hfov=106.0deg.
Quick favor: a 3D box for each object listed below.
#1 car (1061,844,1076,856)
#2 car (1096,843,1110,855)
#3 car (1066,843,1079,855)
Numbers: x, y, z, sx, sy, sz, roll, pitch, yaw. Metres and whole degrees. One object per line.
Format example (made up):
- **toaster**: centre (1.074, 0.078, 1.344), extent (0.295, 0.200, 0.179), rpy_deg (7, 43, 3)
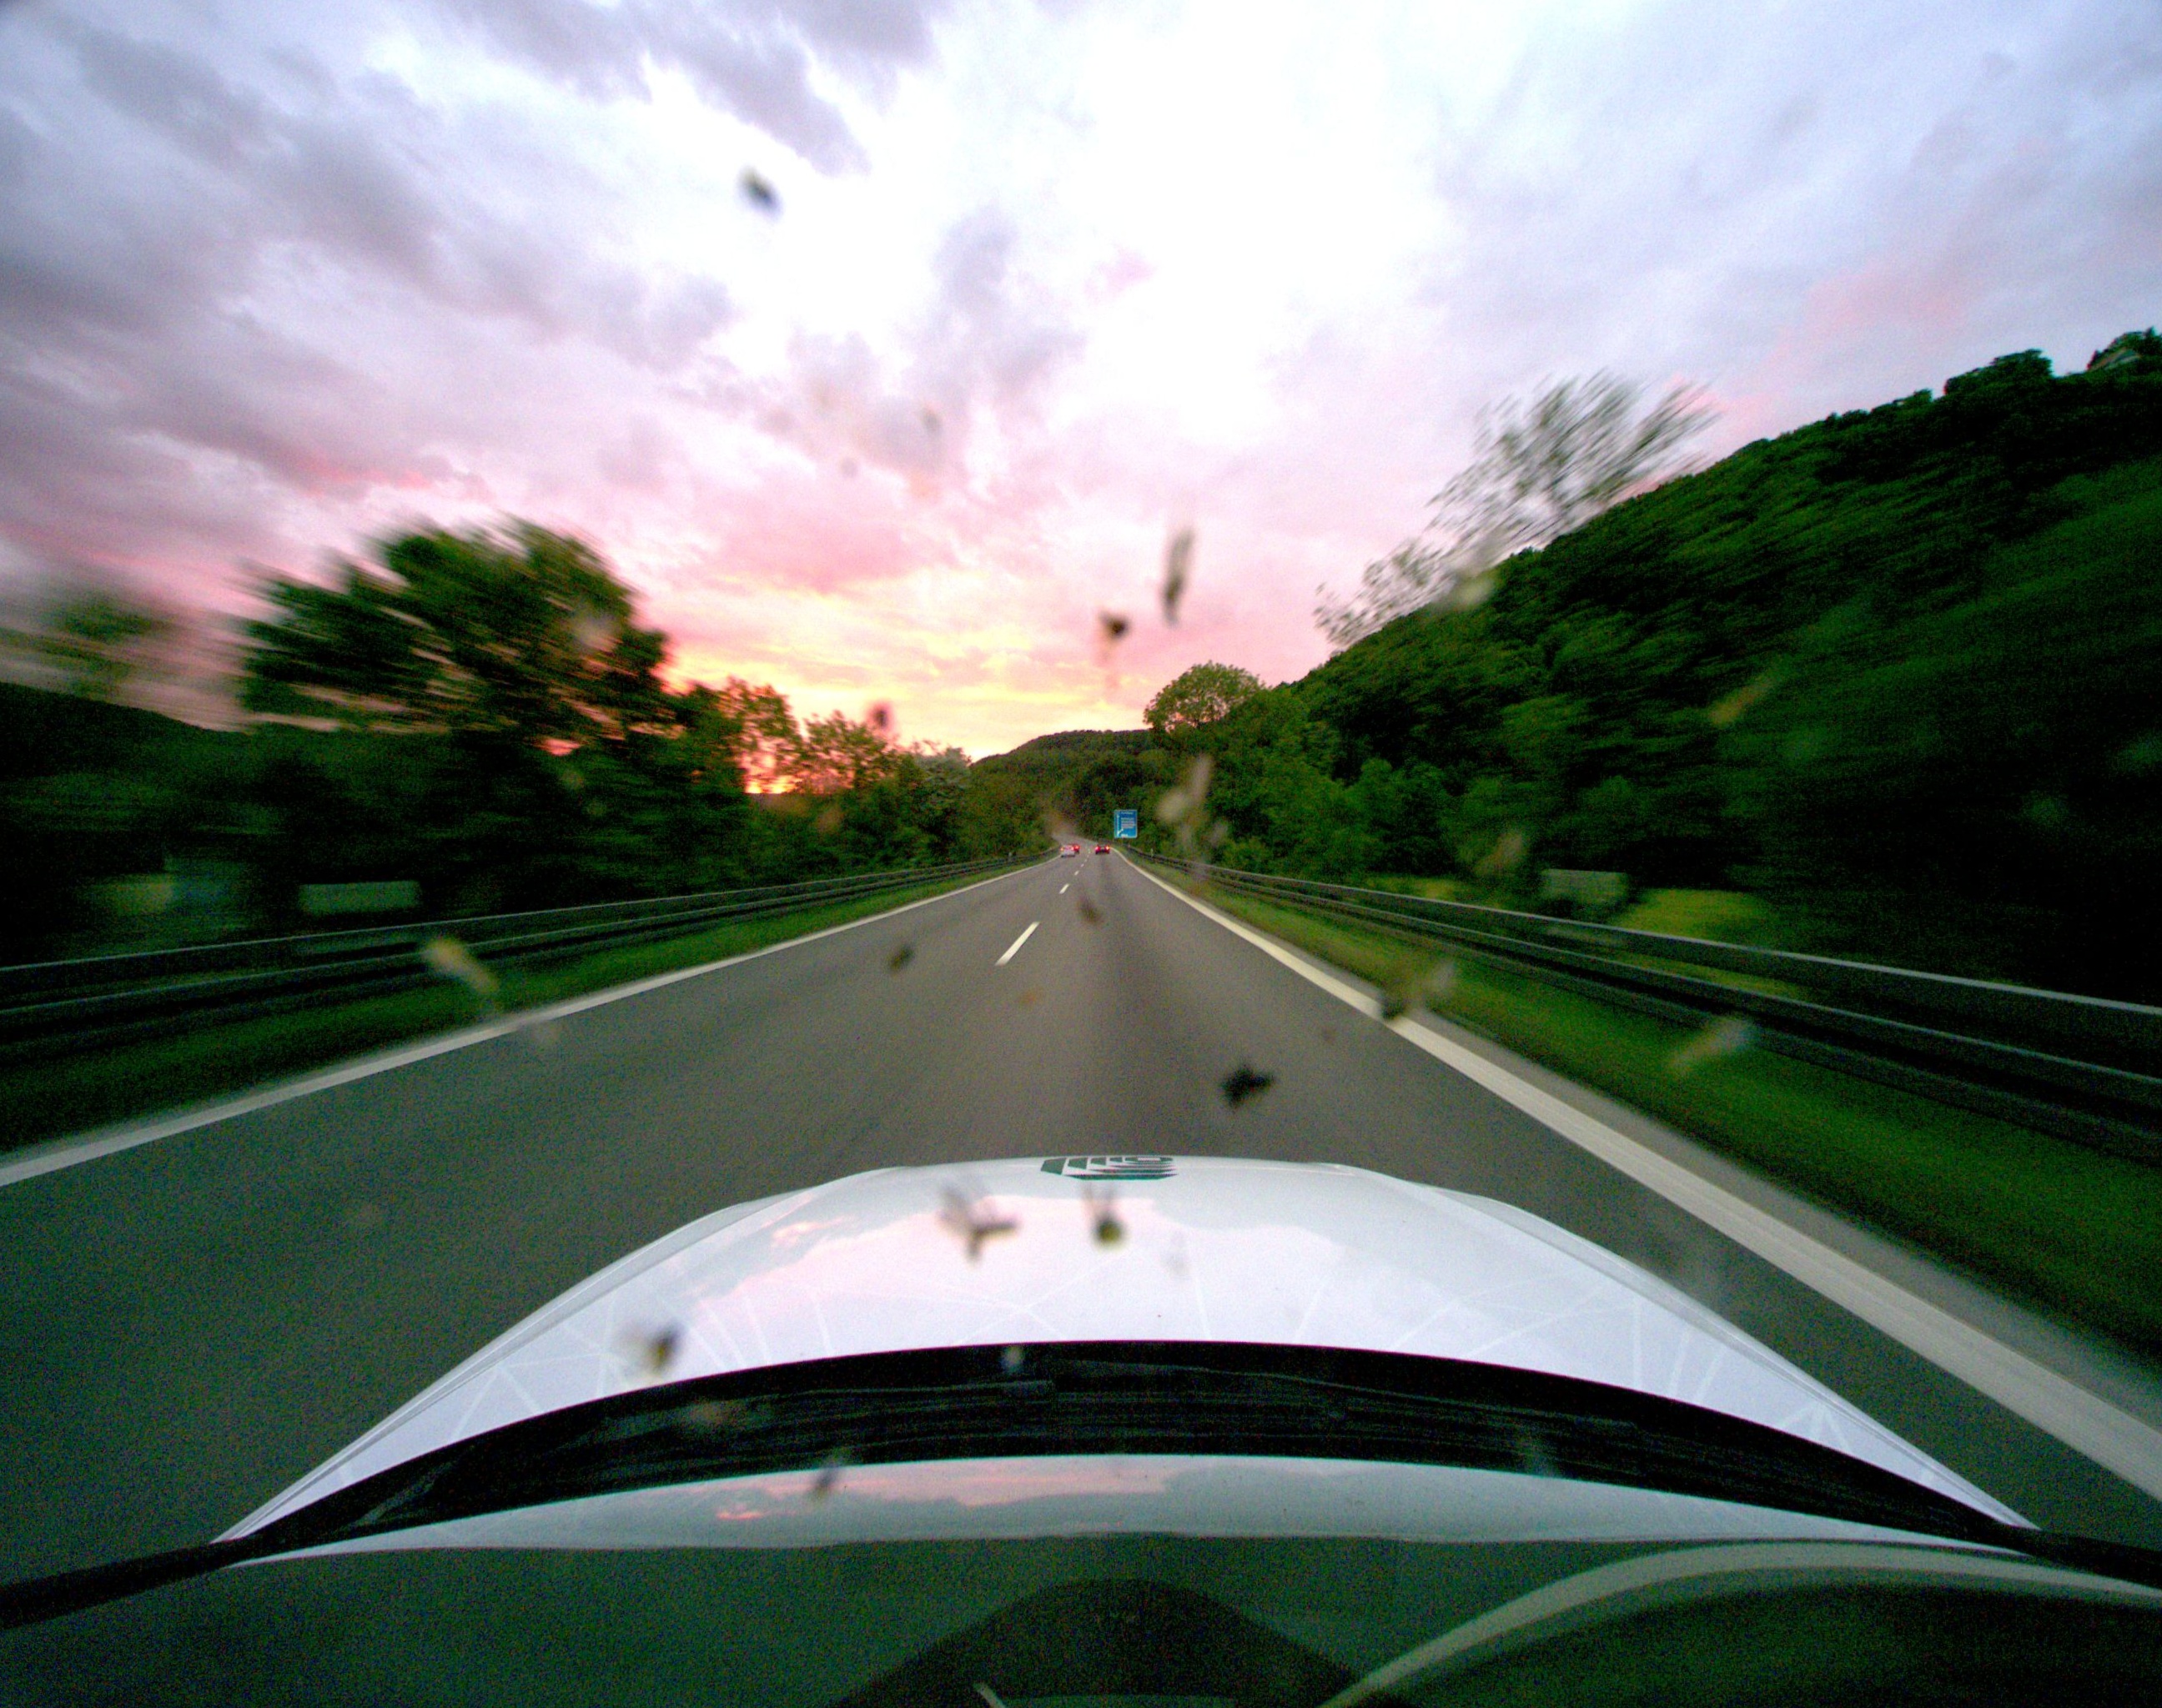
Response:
- **car**: centre (-1.610, -0.558, 104.753), extent (1.712, 1.501, 4.001), rpy_deg (-2, 1, 1)
- **car**: centre (2.939, -0.656, 110.167), extent (1.871, 1.466, 4.001), rpy_deg (-2, 1, 1)
- **car**: centre (-1.156, -0.803, 117.762), extent (1.712, 1.635, 4.001), rpy_deg (-2, 1, 1)
